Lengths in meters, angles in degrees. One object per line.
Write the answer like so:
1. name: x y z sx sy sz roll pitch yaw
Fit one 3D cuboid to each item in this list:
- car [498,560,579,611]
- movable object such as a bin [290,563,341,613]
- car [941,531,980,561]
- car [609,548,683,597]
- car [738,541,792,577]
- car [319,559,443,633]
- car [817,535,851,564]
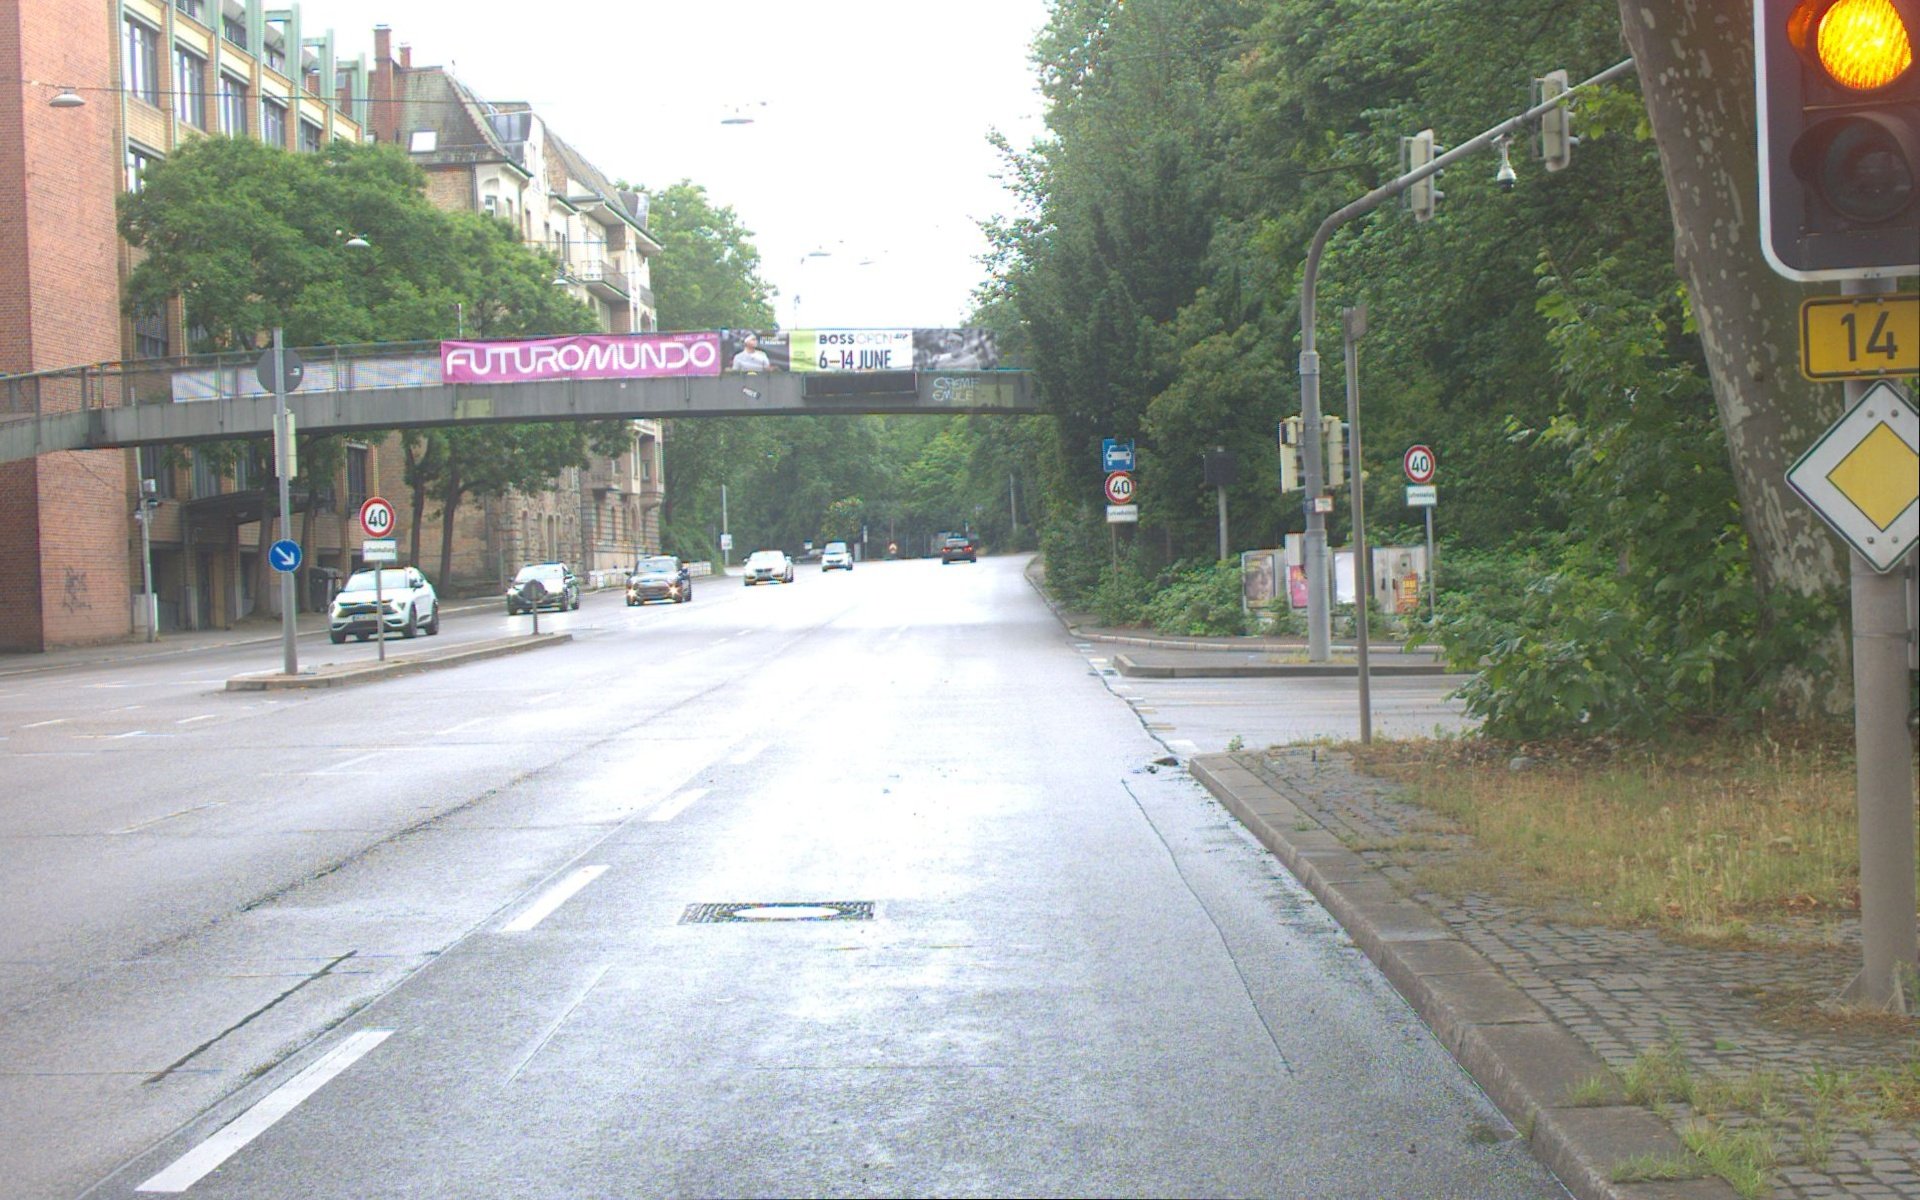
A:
1. car: -12.572 -0.446 102.748 1.709 1.459 4.041 -2 0 3
2. movable object such as a bin: -20.088 -0.374 107.126 1.282 1.513 1.273 -1 1 1
3. car: 0.034 -3.011 192.757 2.004 1.638 4.376 -2 1 -2
4. car: -9.700 -0.843 106.401 1.683 1.431 3.862 -2 0 3
5. car: -8.017 -1.672 141.784 1.830 1.389 4.405 -3 0 1
6. car: -13.199 -0.107 78.602 1.890 1.604 4.456 -1 1 2
7. car: -6.916 -2.765 188.362 1.600 1.494 3.711 -3 0 1
